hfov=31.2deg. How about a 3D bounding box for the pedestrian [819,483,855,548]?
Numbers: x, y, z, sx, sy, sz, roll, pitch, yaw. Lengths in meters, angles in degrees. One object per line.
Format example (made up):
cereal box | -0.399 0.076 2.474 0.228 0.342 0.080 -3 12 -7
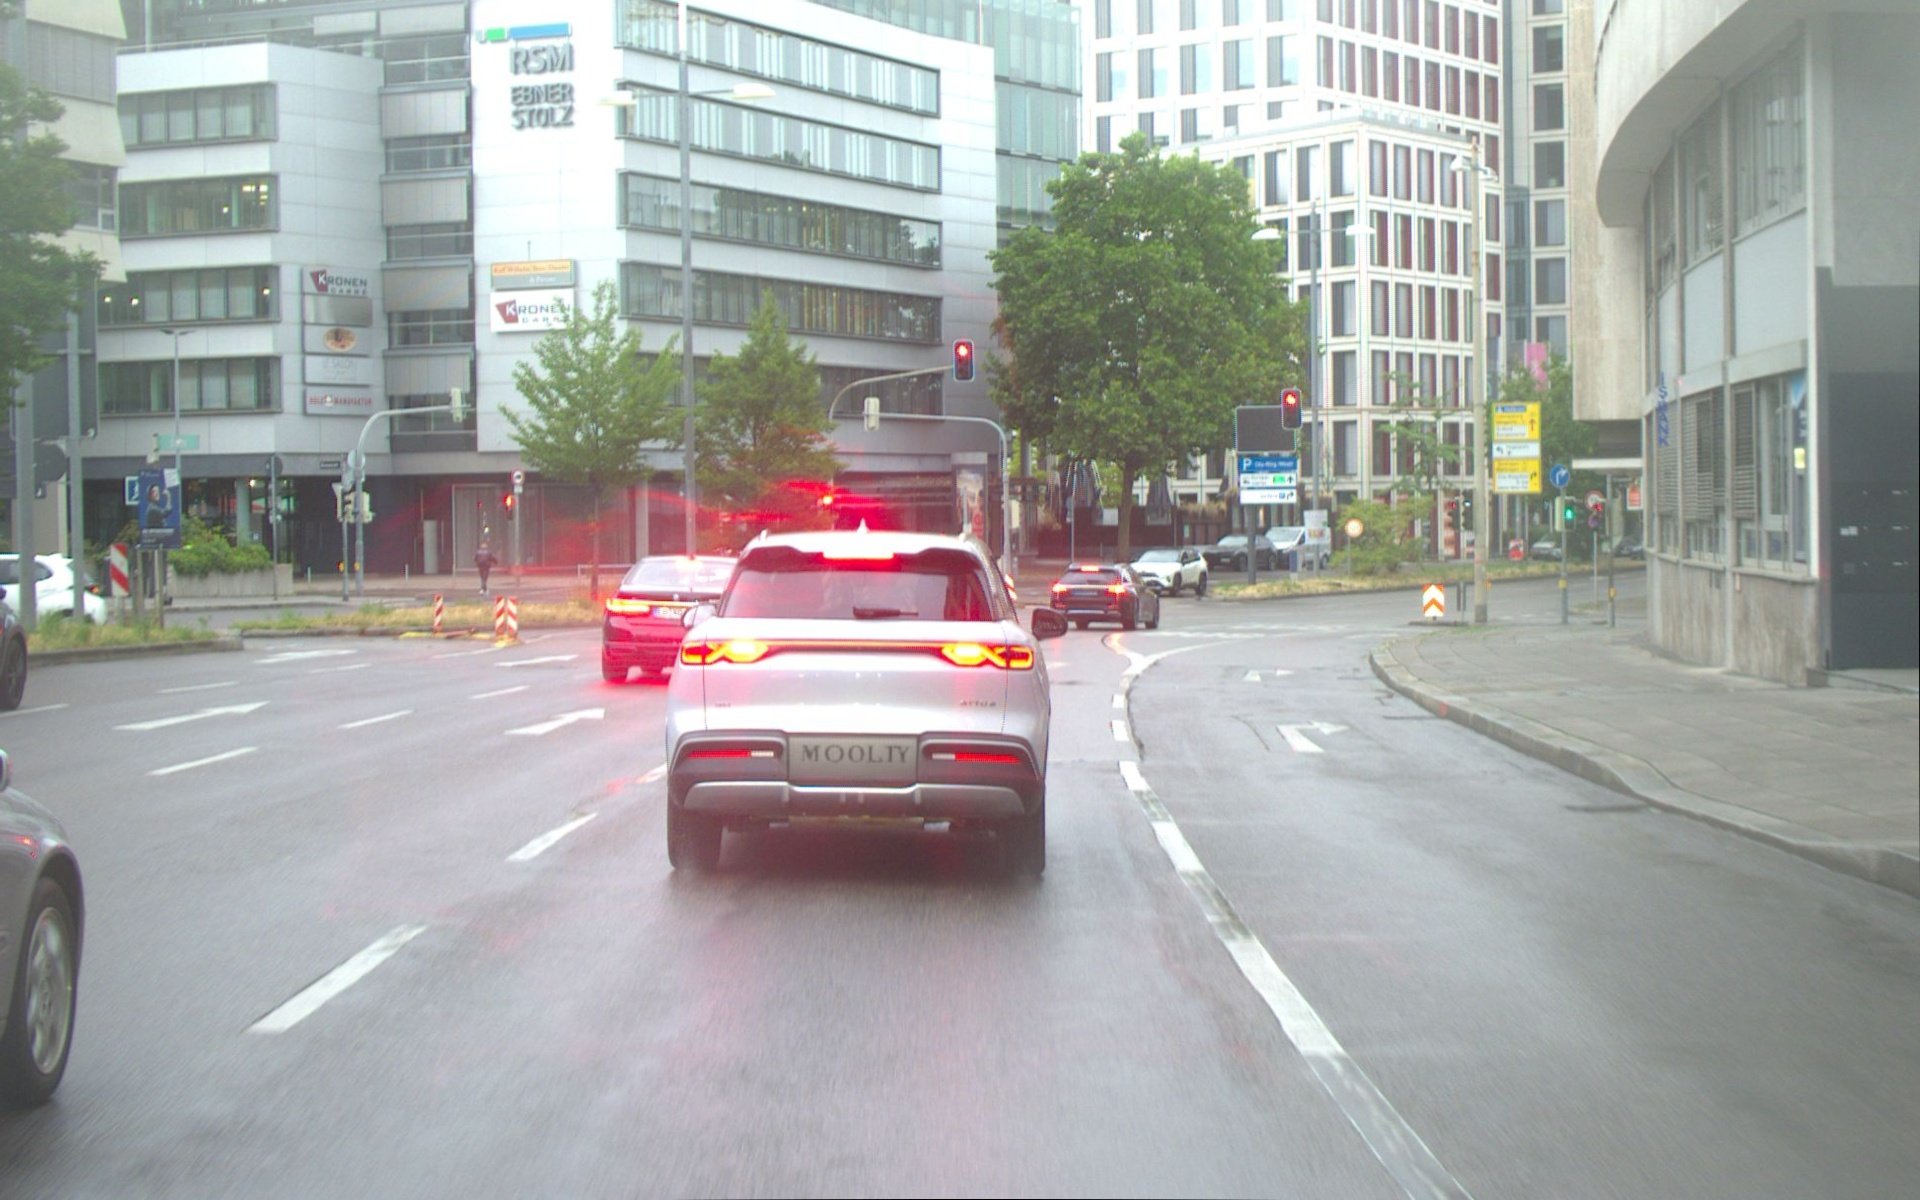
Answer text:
pedestrian | -3.272 -2.251 91.491 0.922 1.732 0.729 0 1 -1

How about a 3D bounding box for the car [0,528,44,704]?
car | -9.388 0.154 29.515 1.993 1.538 4.483 0 1 -2

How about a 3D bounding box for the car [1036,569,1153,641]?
car | 3.042 0.083 76.931 1.956 1.525 3.998 1 1 12

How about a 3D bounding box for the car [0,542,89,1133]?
car | -3.261 0.619 7.360 1.682 1.481 4.196 0 1 1

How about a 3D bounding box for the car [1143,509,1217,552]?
car | 9.274 -2.914 144.372 1.739 1.722 4.488 2 1 22

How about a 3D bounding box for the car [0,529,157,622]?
car | -14.688 -0.396 53.552 4.069 1.426 1.688 0 1 -19

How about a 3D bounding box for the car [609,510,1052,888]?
car | -0.558 0.406 17.726 1.993 1.703 4.483 0 1 1

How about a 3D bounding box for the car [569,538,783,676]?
car | -3.268 0.043 40.264 1.955 1.525 4.000 0 1 3

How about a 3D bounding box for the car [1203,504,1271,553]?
car | 12.432 -3.187 154.014 1.739 2.154 4.488 1 1 22
